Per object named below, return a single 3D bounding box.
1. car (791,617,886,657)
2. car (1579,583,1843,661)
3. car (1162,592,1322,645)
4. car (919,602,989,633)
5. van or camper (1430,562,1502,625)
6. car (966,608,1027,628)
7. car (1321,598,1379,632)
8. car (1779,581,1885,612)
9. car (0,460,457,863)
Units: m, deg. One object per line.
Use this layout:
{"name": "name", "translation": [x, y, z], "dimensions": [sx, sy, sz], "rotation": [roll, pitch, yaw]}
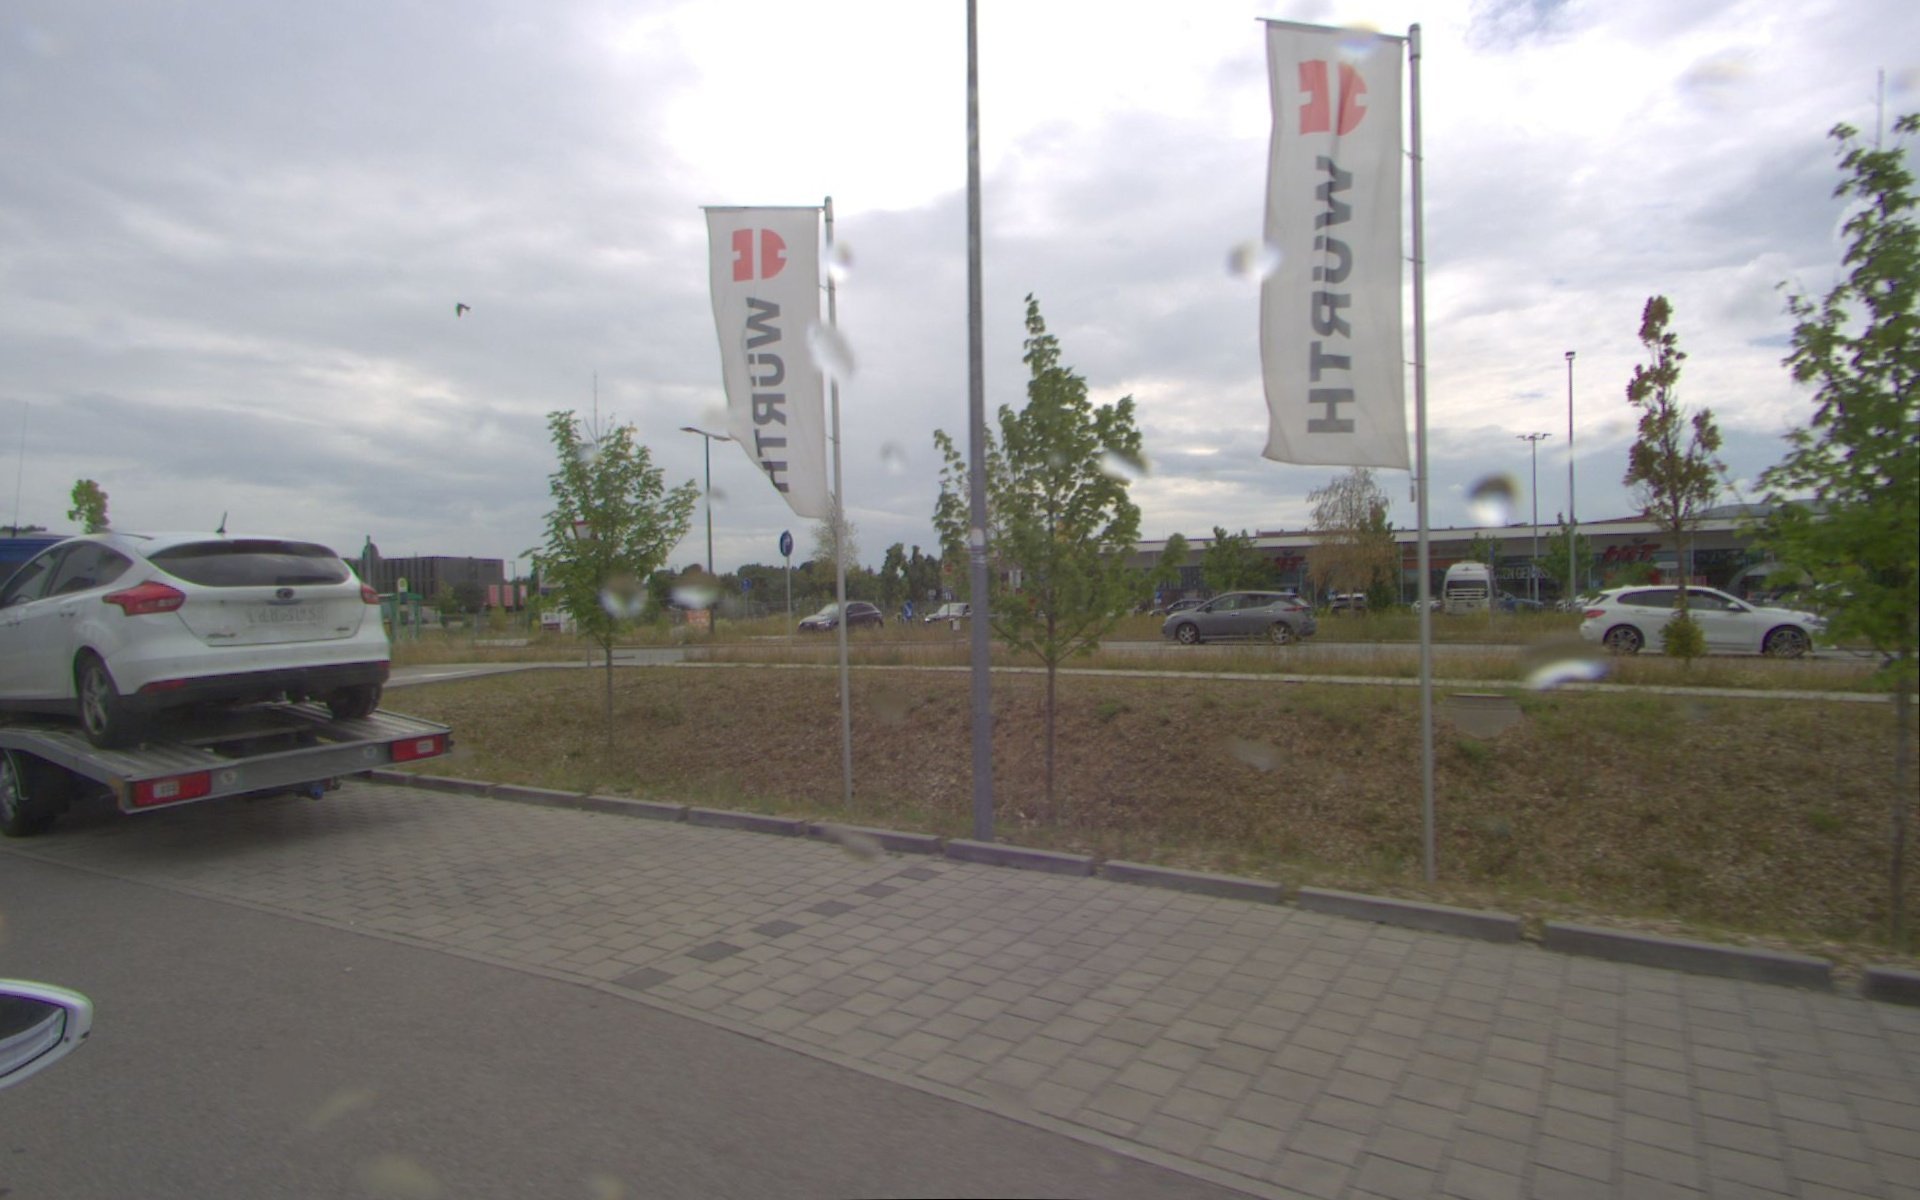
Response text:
{"name": "car", "translation": [-5.000, 1.519, 41.789], "dimensions": [1.770, 1.486, 4.302], "rotation": [-1, 0, 28]}
{"name": "car", "translation": [15.270, 0.453, 20.681], "dimensions": [4.190, 1.469, 1.791], "rotation": [-1, 0, 33]}
{"name": "car", "translation": [8.260, 0.542, 29.320], "dimensions": [4.198, 1.475, 1.992], "rotation": [-1, -1, 28]}
{"name": "car", "translation": [-0.216, 0.847, 50.095], "dimensions": [1.756, 1.464, 4.596], "rotation": [-1, -1, 24]}
{"name": "van or camper", "translation": [21.360, -0.273, 42.186], "dimensions": [2.259, 2.525, 3.976], "rotation": [0, 1, 34]}
{"name": "car", "translation": [2.576, 1.273, 70.252], "dimensions": [3.929, 1.369, 1.996], "rotation": [-1, -1, 19]}
{"name": "car", "translation": [17.797, 0.660, 45.548], "dimensions": [1.964, 1.470, 4.133], "rotation": [-1, -1, 28]}
{"name": "car", "translation": [47.442, -0.182, 54.571], "dimensions": [3.930, 1.662, 1.873], "rotation": [0, 0, 20]}
{"name": "car", "translation": [-7.721, 0.441, 8.866], "dimensions": [7.746, 2.353, 2.189], "rotation": [-1, 0, 33]}
